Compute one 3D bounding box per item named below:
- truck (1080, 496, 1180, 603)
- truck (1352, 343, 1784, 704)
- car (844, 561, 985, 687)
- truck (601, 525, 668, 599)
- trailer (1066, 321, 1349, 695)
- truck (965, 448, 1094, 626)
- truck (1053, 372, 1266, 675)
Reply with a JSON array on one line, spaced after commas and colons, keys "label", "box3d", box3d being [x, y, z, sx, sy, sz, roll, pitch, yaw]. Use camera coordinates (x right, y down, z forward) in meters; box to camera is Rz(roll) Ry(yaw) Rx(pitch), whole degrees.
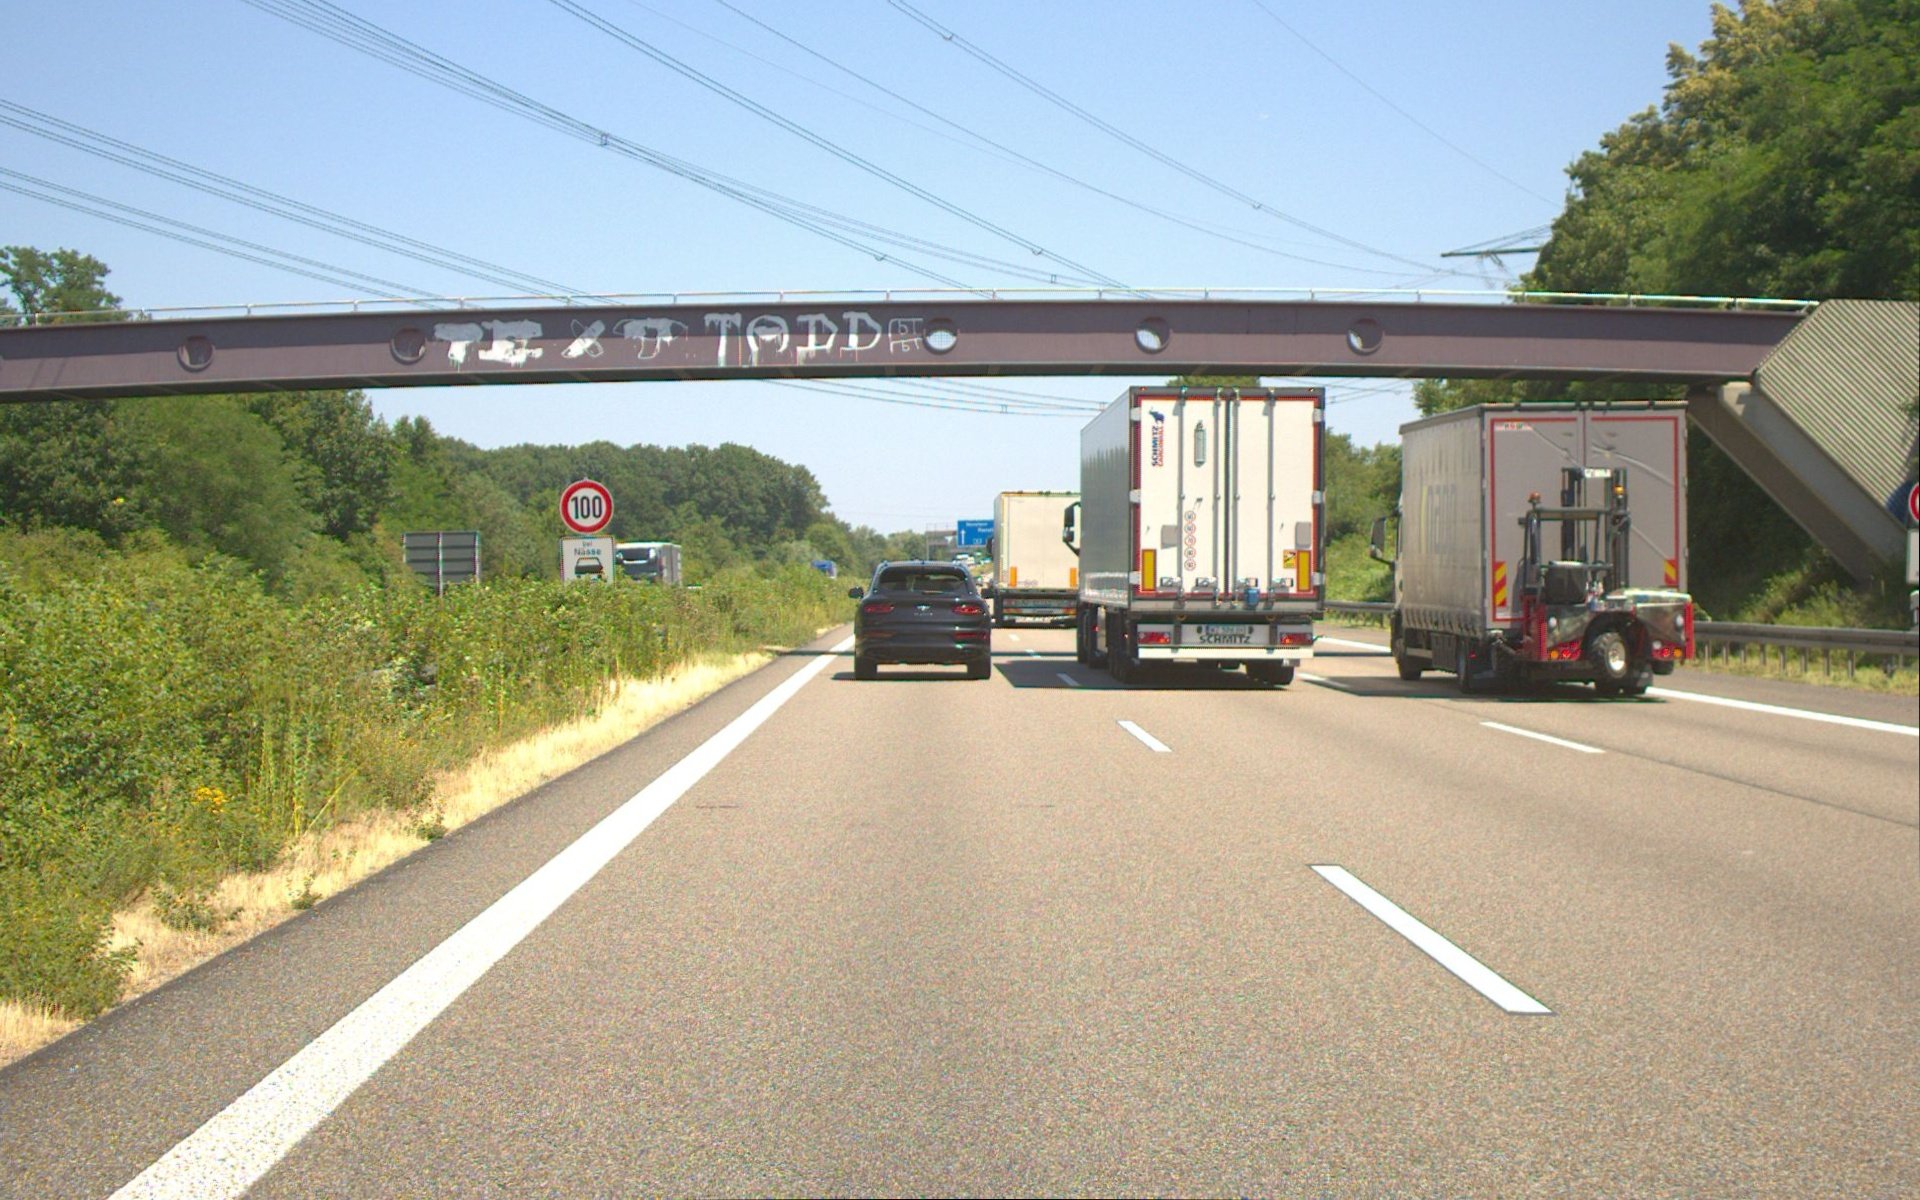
[{"label": "truck", "box3d": [7.423, -2.181, 151.737, 3.512, 4.477, 13.251, 1, 0, -1]}, {"label": "truck", "box3d": [7.916, -0.922, 46.819, 3.571, 4.230, 11.652, 1, 0, -1]}, {"label": "car", "box3d": [-0.716, 0.314, 50.883, 1.993, 1.766, 4.000, -1, 1, -2]}, {"label": "truck", "box3d": [-18.789, -2.142, 198.930, 2.758, 4.108, 10.216, -1, 0, 0]}, {"label": "trailer", "box3d": [3.448, -1.227, 51.392, 3.087, 4.868, 12.258, 1, 0, -1]}, {"label": "truck", "box3d": [2.029, -1.881, 105.103, 3.512, 5.149, 10.259, 1, 0, -1]}, {"label": "truck", "box3d": [3.335, -1.248, 59.182, 3.087, 4.868, 6.598, 1, 0, -1]}]
